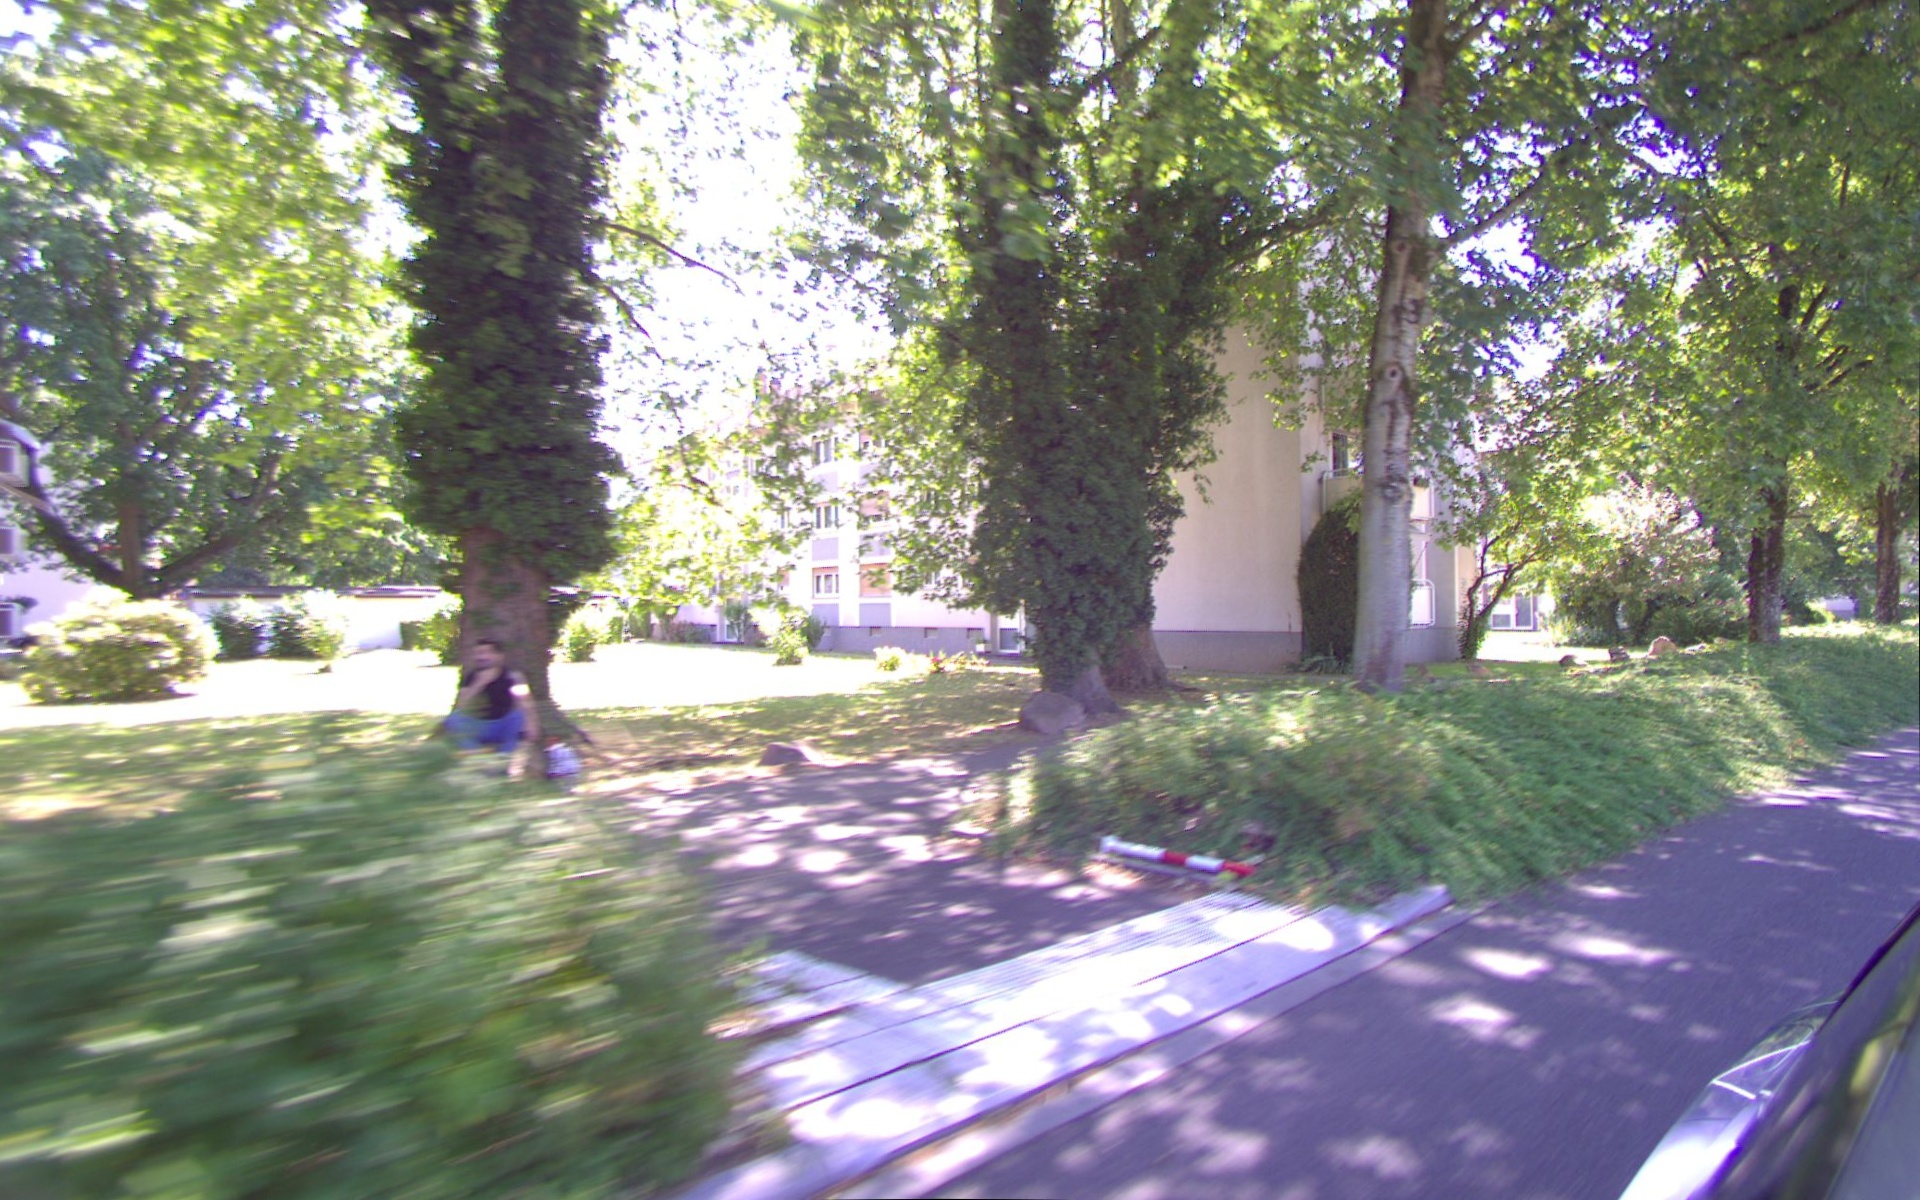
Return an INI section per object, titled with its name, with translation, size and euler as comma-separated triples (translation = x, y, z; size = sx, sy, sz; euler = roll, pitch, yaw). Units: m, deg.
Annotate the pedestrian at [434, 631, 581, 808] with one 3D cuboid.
[pedestrian]
translation = -3.767, 0.932, 8.392
size = 1.047, 1.309, 0.943
euler = 0, -1, -28
